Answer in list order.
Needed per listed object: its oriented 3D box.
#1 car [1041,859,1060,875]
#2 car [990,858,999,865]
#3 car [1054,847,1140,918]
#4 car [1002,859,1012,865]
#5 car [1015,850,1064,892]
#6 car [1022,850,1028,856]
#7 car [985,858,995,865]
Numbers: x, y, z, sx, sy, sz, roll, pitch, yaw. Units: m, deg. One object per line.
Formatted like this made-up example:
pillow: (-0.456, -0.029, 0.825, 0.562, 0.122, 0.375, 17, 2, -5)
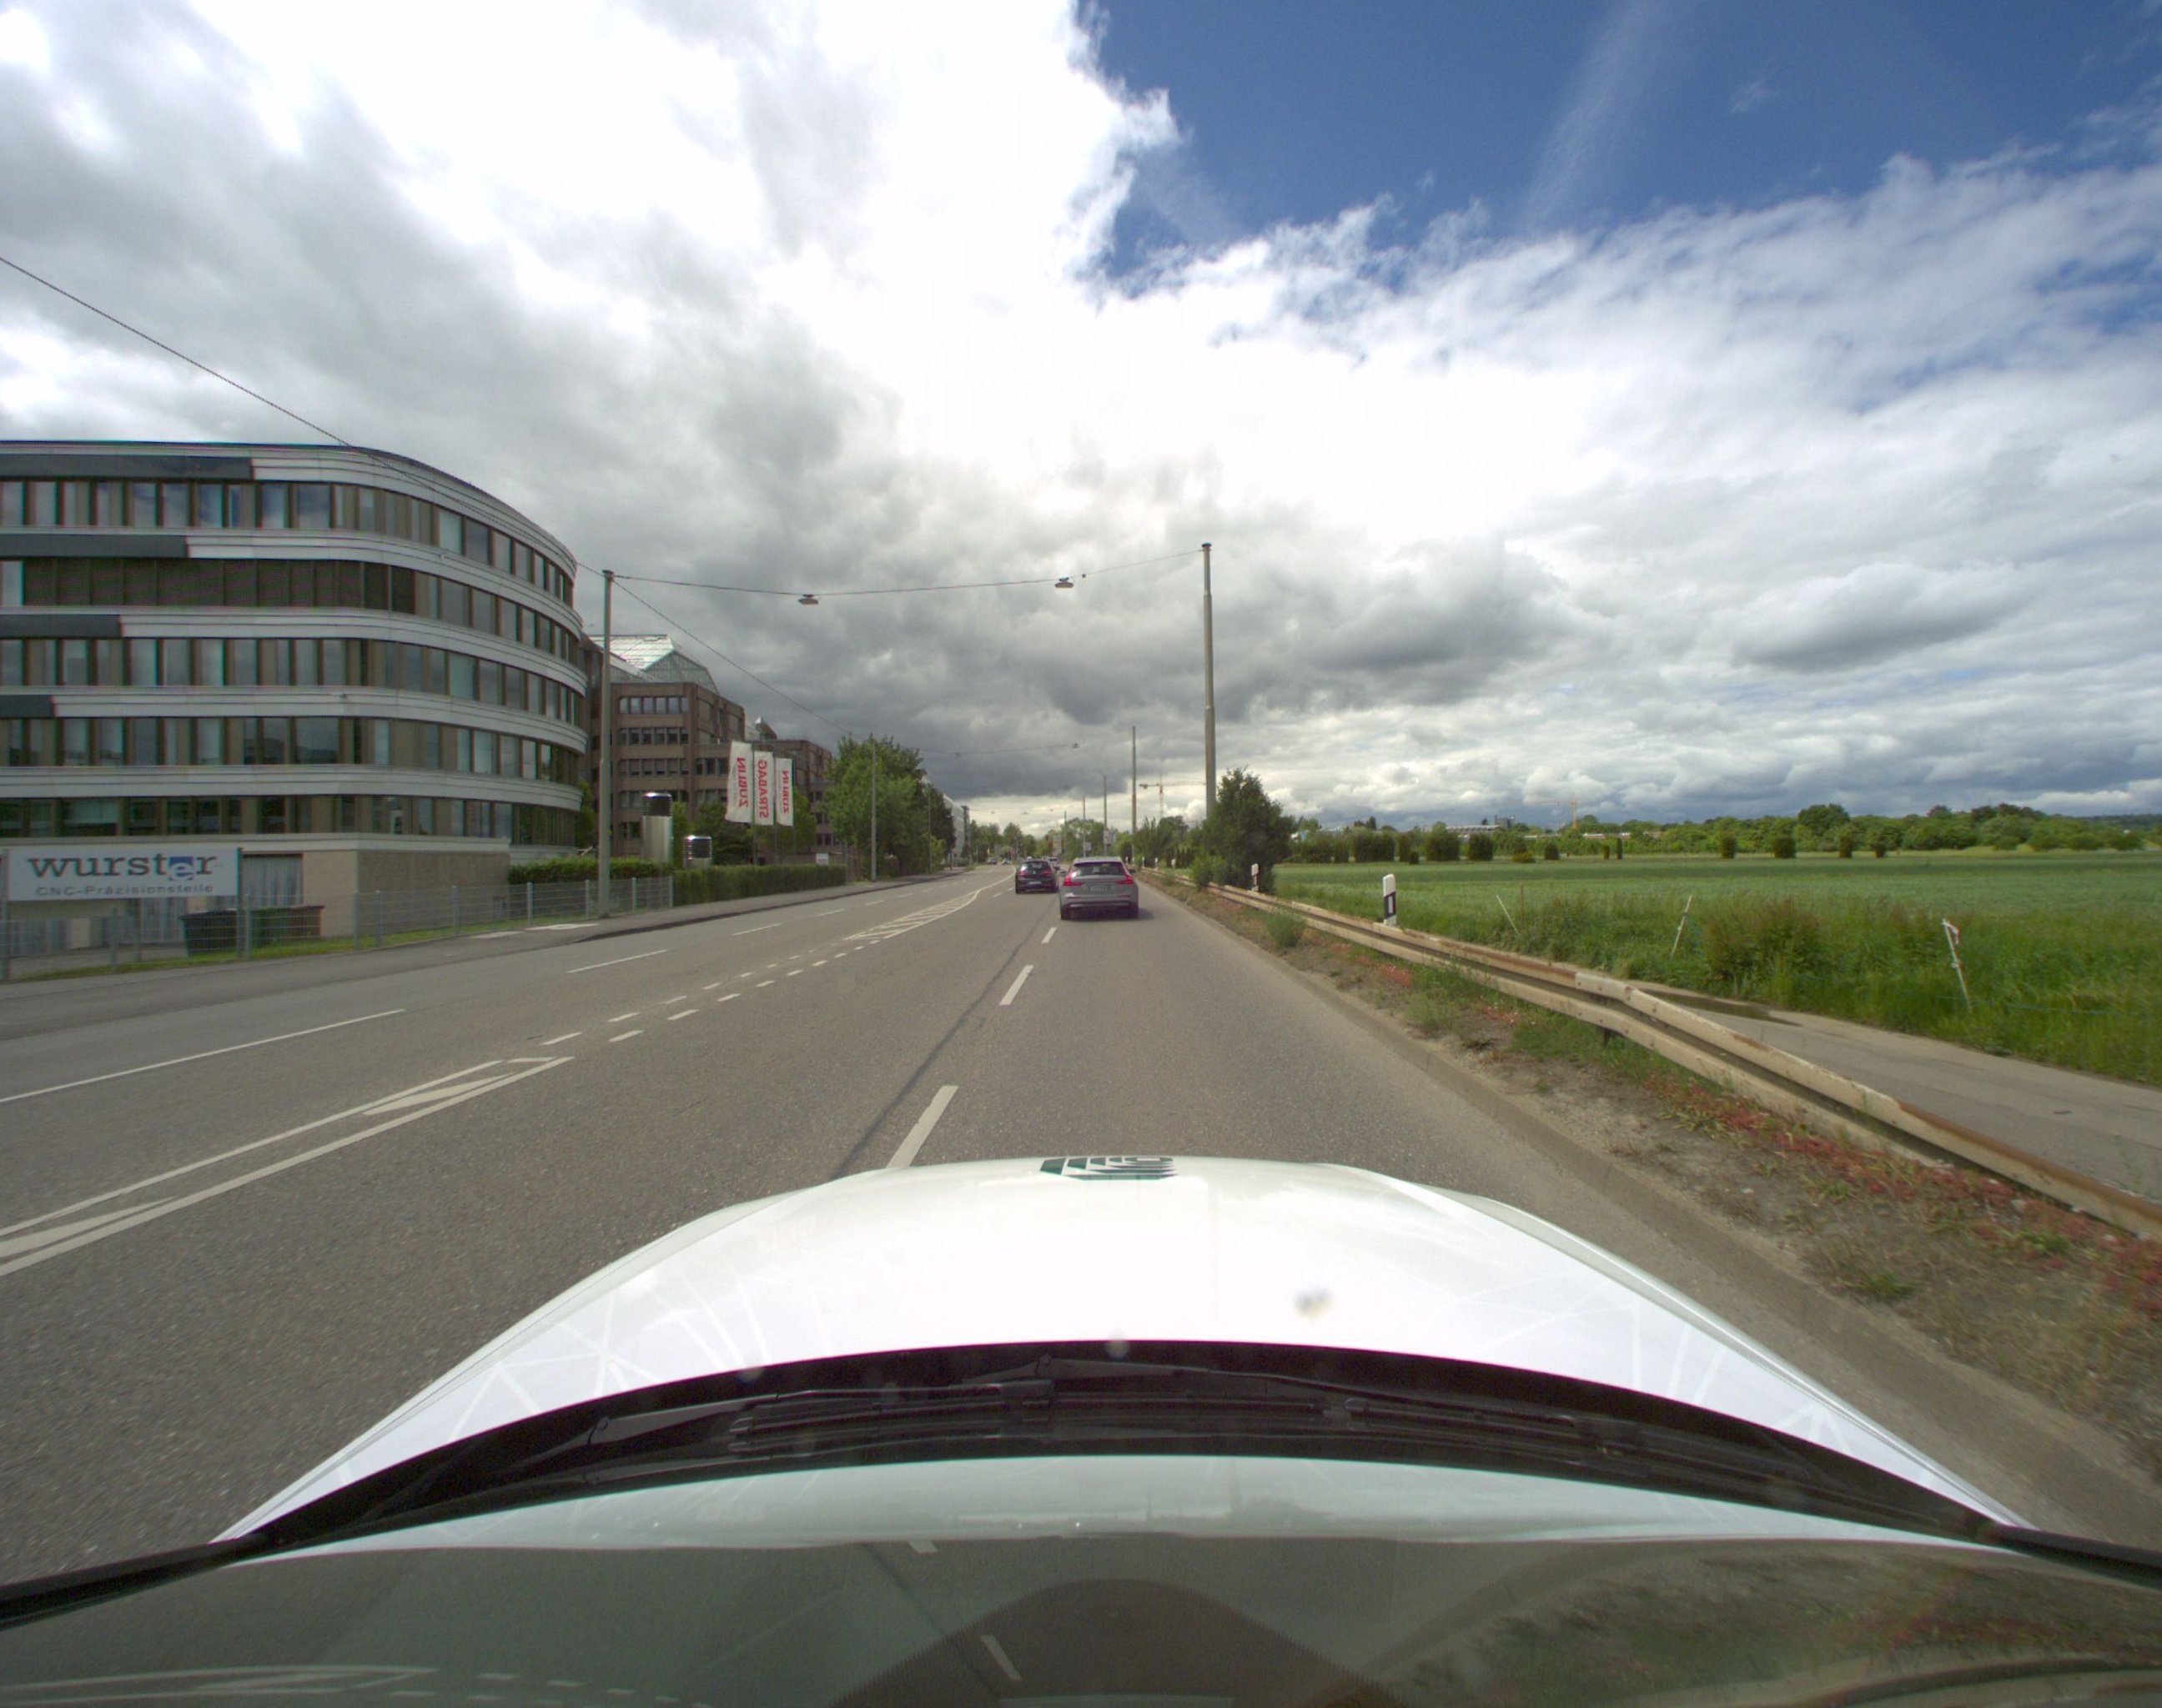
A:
car: (-3.466, 1.521, 94.344, 1.987, 1.695, 3.999, 1, -1, 0)
car: (-22.097, 1.947, 207.821, 1.876, 1.717, 3.998, 1, -1, -1)
car: (0.436, 0.682, 20.302, 1.888, 1.554, 4.001, -1, -1, 2)
car: (-17.238, 1.860, 189.648, 1.876, 1.520, 3.998, 1, -1, -1)
car: (-1.740, 0.734, 35.403, 1.988, 1.717, 3.997, 1, -1, -1)
car: (-16.956, -0.308, 246.517, 1.945, 1.750, 4.382, 1, -1, -4)
car: (-21.298, 1.729, 191.470, 1.876, 1.717, 3.998, 1, -1, -1)
